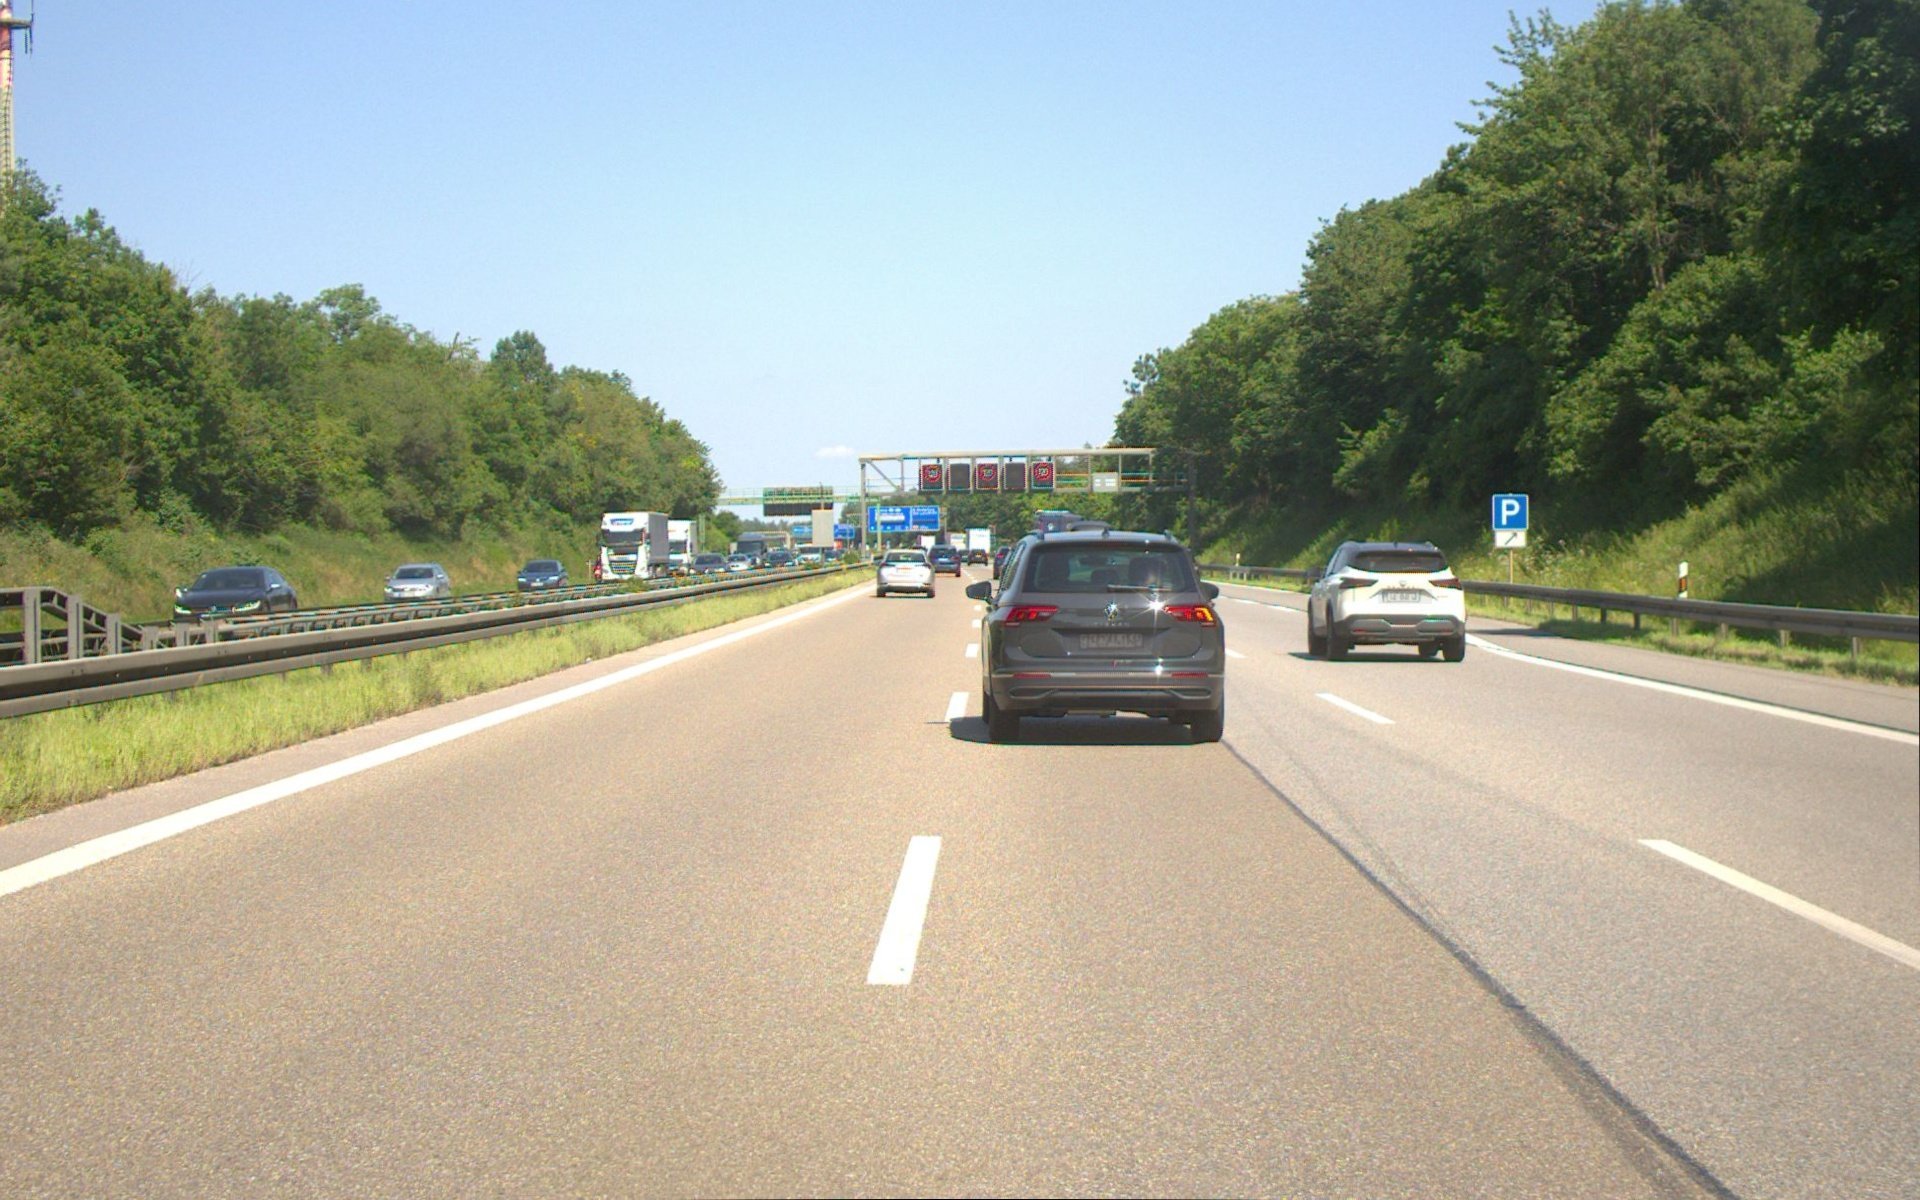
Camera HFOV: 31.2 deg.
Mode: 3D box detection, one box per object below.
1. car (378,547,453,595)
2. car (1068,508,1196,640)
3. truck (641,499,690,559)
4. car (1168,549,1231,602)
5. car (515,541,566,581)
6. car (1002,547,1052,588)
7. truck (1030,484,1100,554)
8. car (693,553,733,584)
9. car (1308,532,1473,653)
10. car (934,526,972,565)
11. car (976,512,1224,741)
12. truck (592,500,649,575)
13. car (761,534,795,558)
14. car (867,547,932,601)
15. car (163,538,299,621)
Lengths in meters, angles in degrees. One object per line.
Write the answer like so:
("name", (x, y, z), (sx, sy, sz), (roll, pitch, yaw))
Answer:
("car", (-18.370, -0.991, 116.163), (1.628, 1.487, 4.941), (-3, 1, 1))
("car", (2.544, -0.421, 51.809), (1.665, 1.870, 4.827), (-1, 1, 0))
("truck", (-19.412, -4.698, 226.713), (2.703, 3.796, 4.000), (-2, 1, 0))
("car", (7.540, -0.789, 108.480), (1.765, 1.563, 4.258), (1, 1, 1))
("car", (-17.566, -1.645, 144.045), (1.595, 1.562, 4.369), (-3, 1, 0))
("car", (2.411, -1.171, 123.189), (1.765, 1.377, 4.258), (1, 1, 1))
("truck", (6.773, -5.188, 223.549), (3.780, 4.407, 14.052), (0, 1, -1))
("car", (-11.279, -1.458, 156.867), (1.485, 1.351, 4.418), (-1, 1, 0))
("car", (5.889, -0.134, 47.455), (1.843, 1.563, 4.035), (1, 1, 1))
("car", (-0.375, -2.888, 181.485), (1.993, 2.007, 4.000), (0, 1, -1))
("car", (1.084, 0.157, 27.521), (1.799, 1.663, 4.258), (1, 1, 1))
("truck", (-19.079, -3.507, 193.227), (2.614, 4.044, 4.000), (-3, 1, 0))
("car", (-11.347, -3.376, 214.720), (1.807, 1.401, 4.819), (-1, 1, 0))
("car", (-1.807, -0.796, 104.142), (1.765, 1.563, 4.258), (1, 1, 1))
("car", (-15.017, -0.445, 71.020), (1.756, 1.562, 4.430), (-3, 1, 1))
